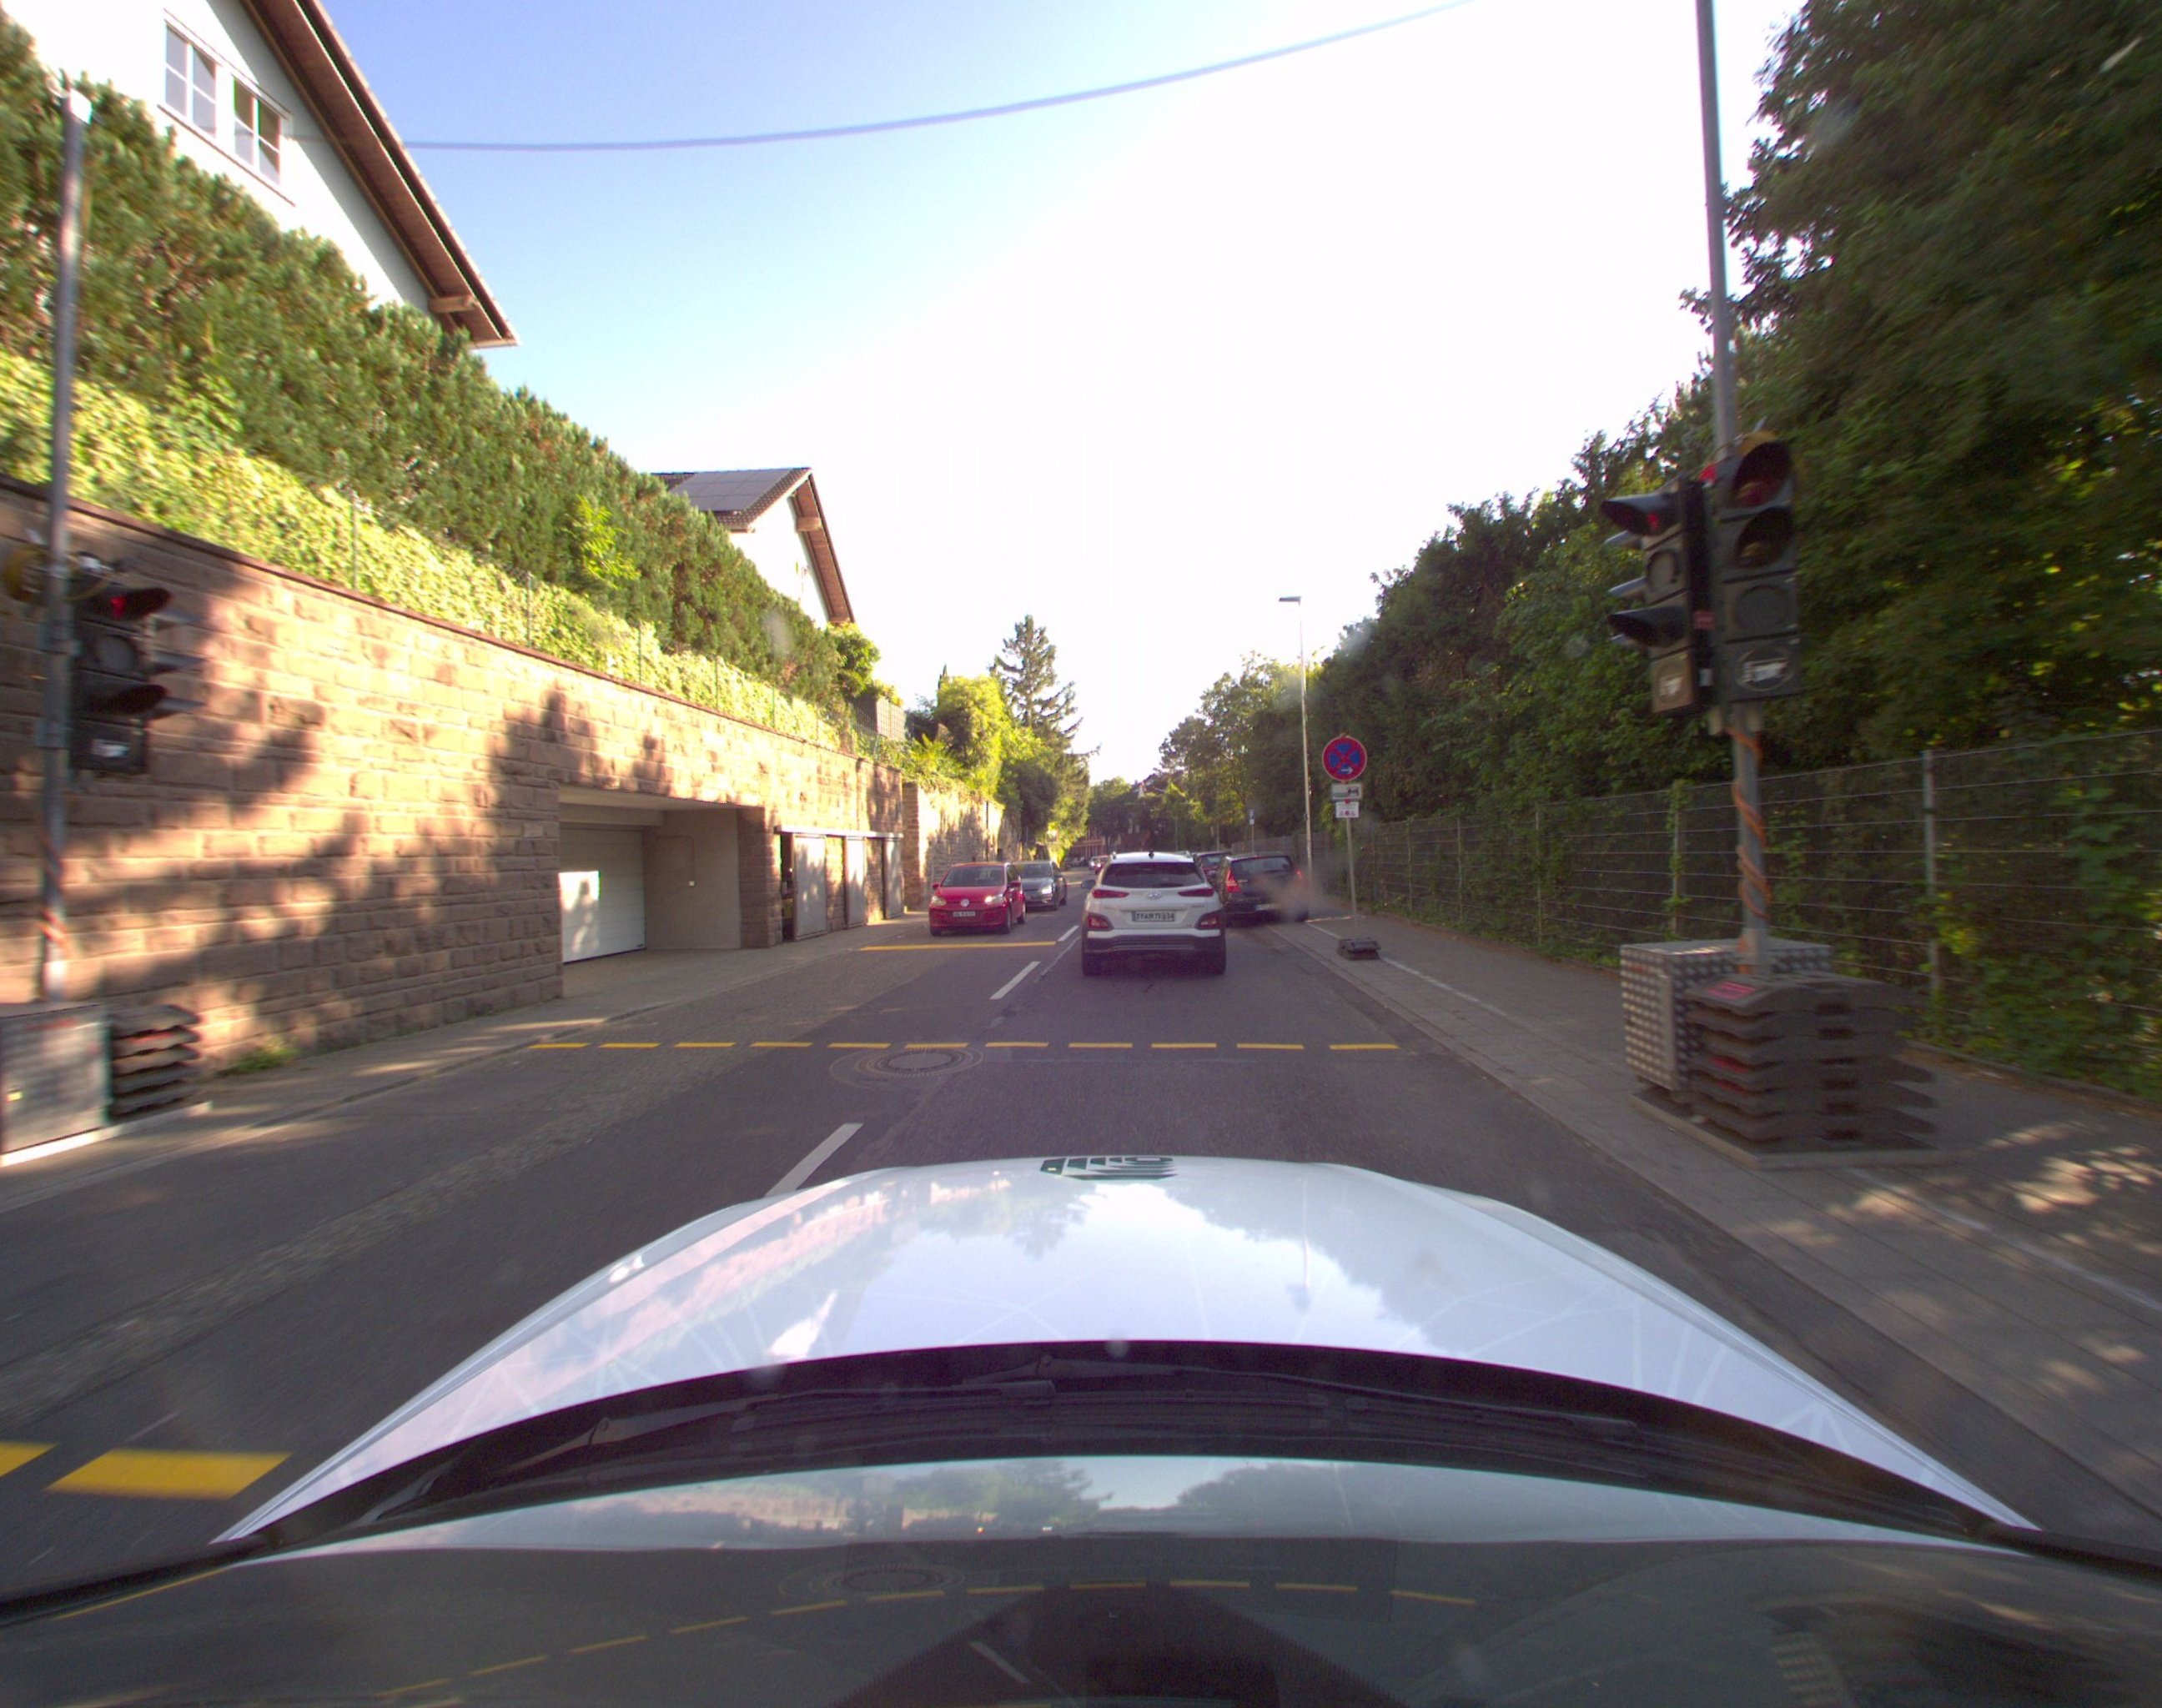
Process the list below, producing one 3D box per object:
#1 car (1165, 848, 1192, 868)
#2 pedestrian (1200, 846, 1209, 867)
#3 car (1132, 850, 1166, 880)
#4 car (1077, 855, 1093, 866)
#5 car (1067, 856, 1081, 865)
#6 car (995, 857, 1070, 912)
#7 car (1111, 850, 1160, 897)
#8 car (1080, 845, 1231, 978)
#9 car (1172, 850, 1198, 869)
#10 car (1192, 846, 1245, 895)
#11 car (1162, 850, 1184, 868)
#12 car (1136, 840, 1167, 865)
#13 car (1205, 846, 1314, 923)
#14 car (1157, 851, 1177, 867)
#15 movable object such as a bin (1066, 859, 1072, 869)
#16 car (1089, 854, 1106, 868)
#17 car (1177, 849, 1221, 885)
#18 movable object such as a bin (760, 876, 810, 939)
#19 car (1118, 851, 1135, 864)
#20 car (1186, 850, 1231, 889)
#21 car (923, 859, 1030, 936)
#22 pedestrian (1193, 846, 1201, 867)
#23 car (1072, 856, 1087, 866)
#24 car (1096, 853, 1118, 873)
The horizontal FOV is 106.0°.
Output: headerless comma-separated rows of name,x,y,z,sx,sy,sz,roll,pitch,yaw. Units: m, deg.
car,8.617,0.360,72.114,1.590,1.565,3.995,-4,-1,-3
pedestrian,9.383,0.168,61.845,0.500,1.569,0.504,-4,-1,5
car,3.543,0.565,42.263,1.562,1.477,3.555,-1,0,8
car,0.650,1.050,133.700,1.757,1.616,3.984,0,0,-12
car,-1.235,1.160,143.768,1.757,1.616,3.984,0,0,-12
car,-1.356,0.848,24.240,1.641,1.411,3.935,-2,0,4
car,2.004,0.640,29.139,1.504,1.533,3.555,-2,0,7
car,0.955,0.685,11.652,1.765,1.542,4.002,-1,0,2
car,8.494,0.448,66.822,1.679,1.431,4.003,-4,0,2
car,4.685,0.539,28.044,1.644,1.564,2.878,-2,0,7
car,8.725,0.496,77.120,1.588,1.519,3.932,-4,-1,1
car,4.980,-0.155,57.330,1.683,1.533,3.893,-5,1,10
car,3.808,0.594,18.007,1.786,1.441,4.005,-2,0,5
car,8.728,0.482,82.884,1.588,1.489,3.602,-4,0,1
movable object such as a bin,-1.255,1.034,85.215,0.493,1.011,1.114,0,-1,5
car,1.848,0.797,92.975,1.736,1.474,3.999,-5,-1,0
car,5.472,0.560,38.104,1.619,1.509,2.904,-4,0,1
movable object such as a bin,-5.849,1.051,16.106,0.655,1.175,0.666,-2,0,5
car,5.161,0.381,92.502,1.586,1.386,3.357,-2,0,-3
car,5.246,0.599,33.972,1.701,1.497,4.824,0,0,7
car,-2.157,0.860,17.667,1.620,1.422,3.566,-2,0,3
pedestrian,8.809,0.196,61.863,0.500,1.606,0.492,-4,-1,5
car,-0.244,1.101,138.431,1.757,1.616,3.984,0,0,-12
car,2.193,0.736,67.916,1.543,1.466,3.574,-3,0,5
